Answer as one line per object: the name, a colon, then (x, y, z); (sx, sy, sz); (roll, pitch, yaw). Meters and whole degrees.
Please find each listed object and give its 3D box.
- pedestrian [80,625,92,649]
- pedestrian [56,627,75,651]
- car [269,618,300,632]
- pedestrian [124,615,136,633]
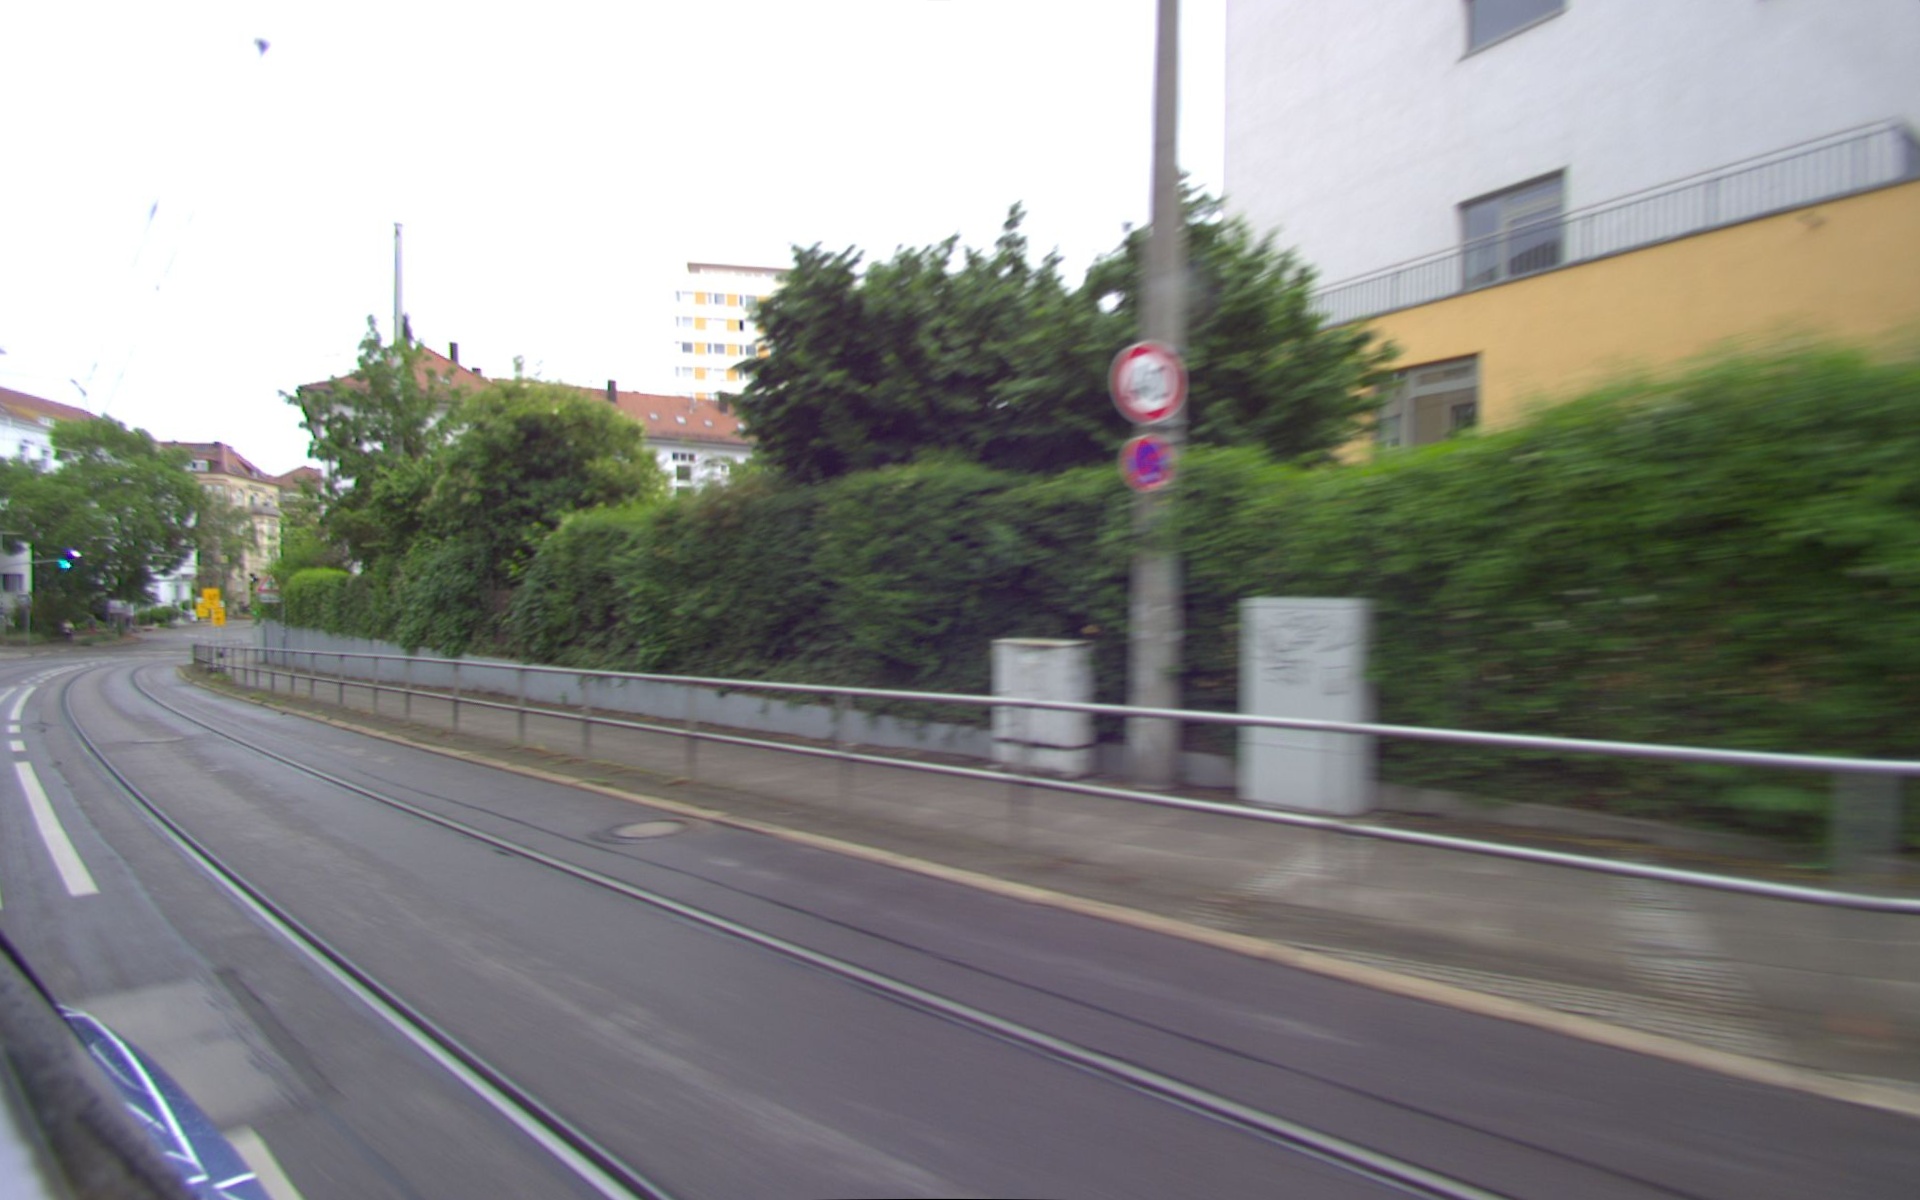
pedestrian: (-70.092, 2.963, 81.149); (0.534, 1.937, 0.920); (2, 0, -32)
pedestrian: (-65.802, 2.844, 74.424); (0.732, 1.713, 0.675); (4, -5, -24)
car: (-73.519, 2.690, 110.194); (1.665, 1.453, 3.814); (2, -1, -14)
pedestrian: (-73.184, 2.106, 89.261); (0.594, 1.578, 0.545); (-1, -3, 4)
